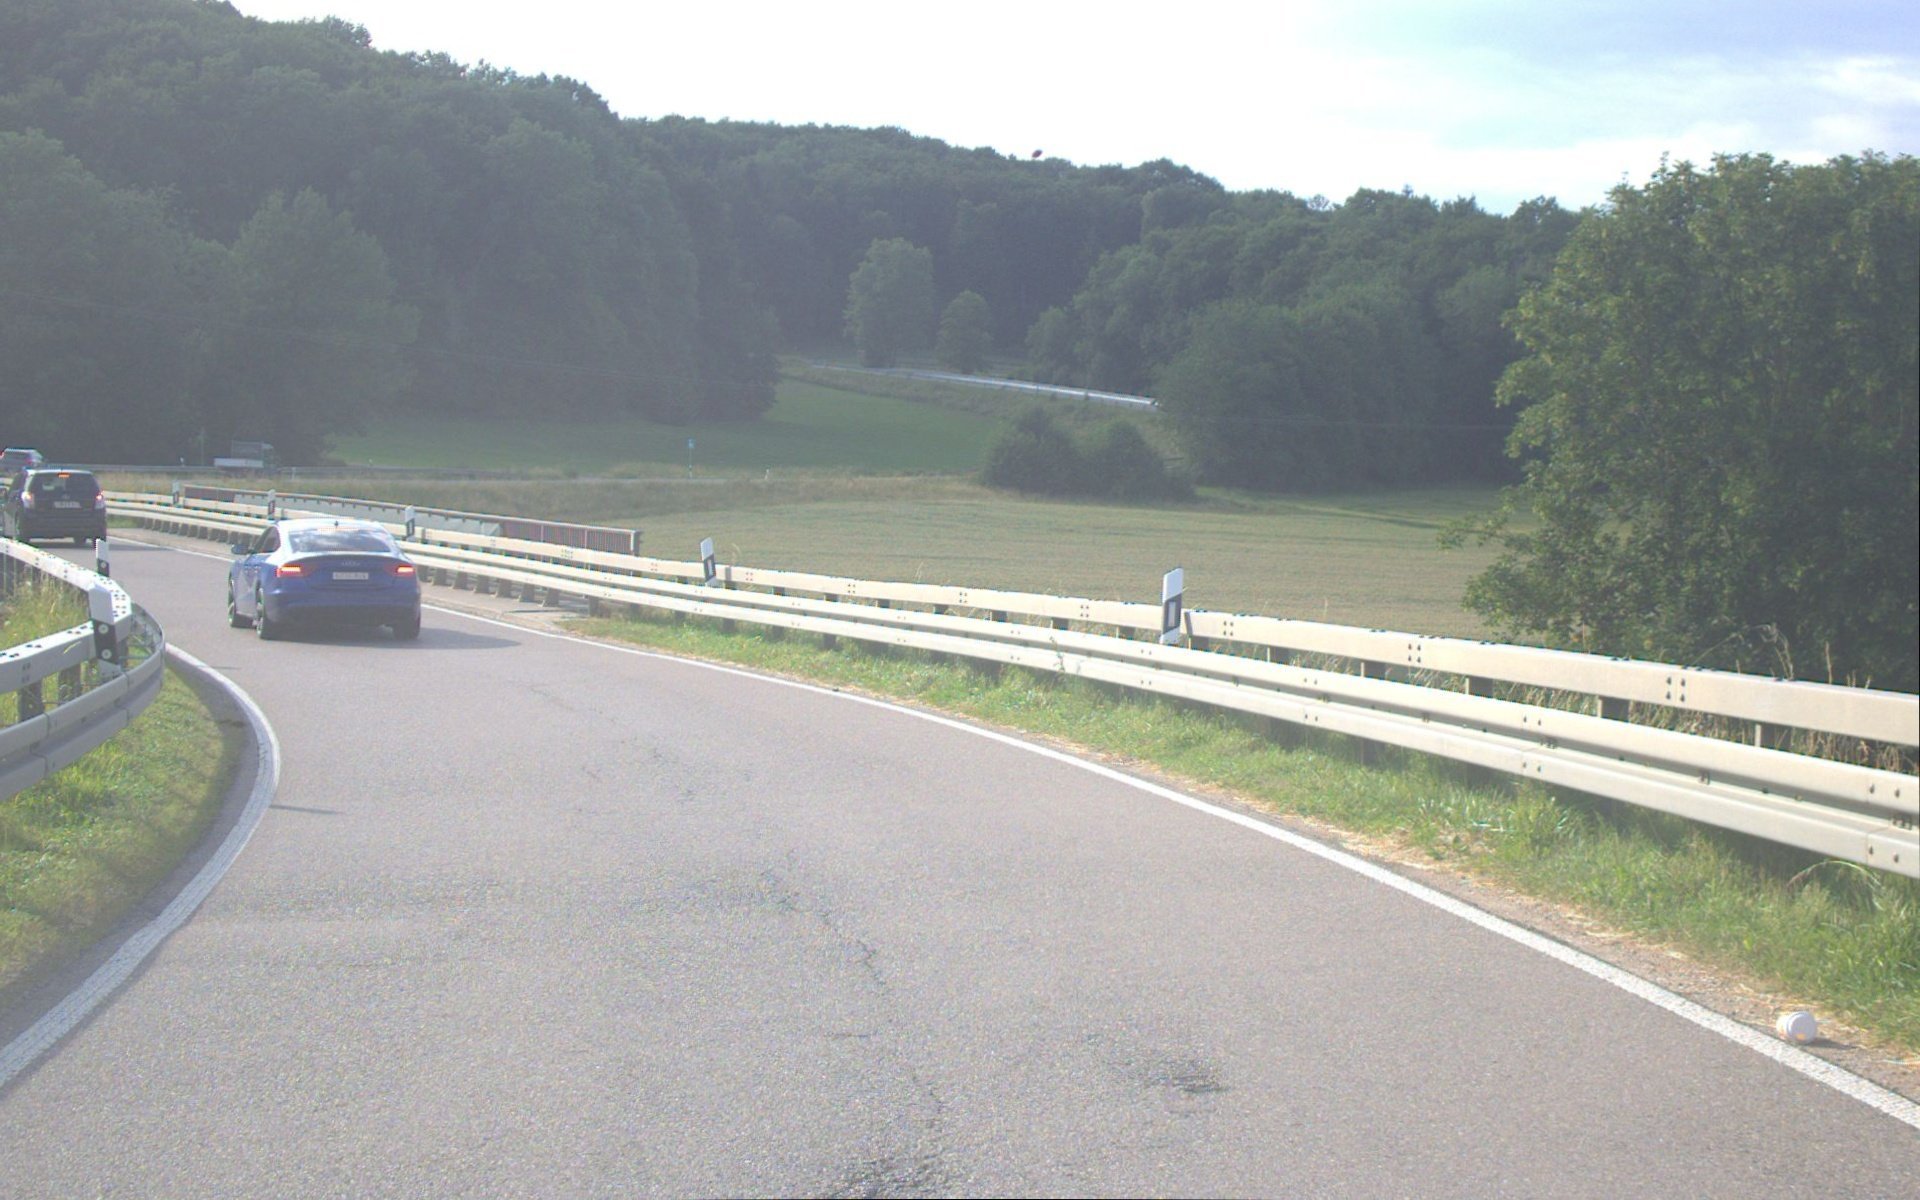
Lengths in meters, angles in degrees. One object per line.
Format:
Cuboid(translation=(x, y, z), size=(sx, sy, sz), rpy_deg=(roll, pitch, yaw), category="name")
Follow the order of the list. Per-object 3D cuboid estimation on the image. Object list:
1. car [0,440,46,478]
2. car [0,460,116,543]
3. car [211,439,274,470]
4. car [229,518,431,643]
Cuboid(translation=(-46.082, -6.845, 166.509), size=(1.994, 1.673, 4.177), rpy_deg=(4, 1, 8), category="car")
Cuboid(translation=(-18.832, -2.061, 71.347), size=(1.861, 1.563, 4.002), rpy_deg=(2, 2, -24), category="car")
Cuboid(translation=(-41.863, -8.489, 200.652), size=(1.995, 1.765, 3.998), rpy_deg=(0, 2, 15), category="car")
Cuboid(translation=(-7.494, -0.271, 40.614), size=(1.818, 1.334, 4.352), rpy_deg=(-1, 2, -18), category="car")
